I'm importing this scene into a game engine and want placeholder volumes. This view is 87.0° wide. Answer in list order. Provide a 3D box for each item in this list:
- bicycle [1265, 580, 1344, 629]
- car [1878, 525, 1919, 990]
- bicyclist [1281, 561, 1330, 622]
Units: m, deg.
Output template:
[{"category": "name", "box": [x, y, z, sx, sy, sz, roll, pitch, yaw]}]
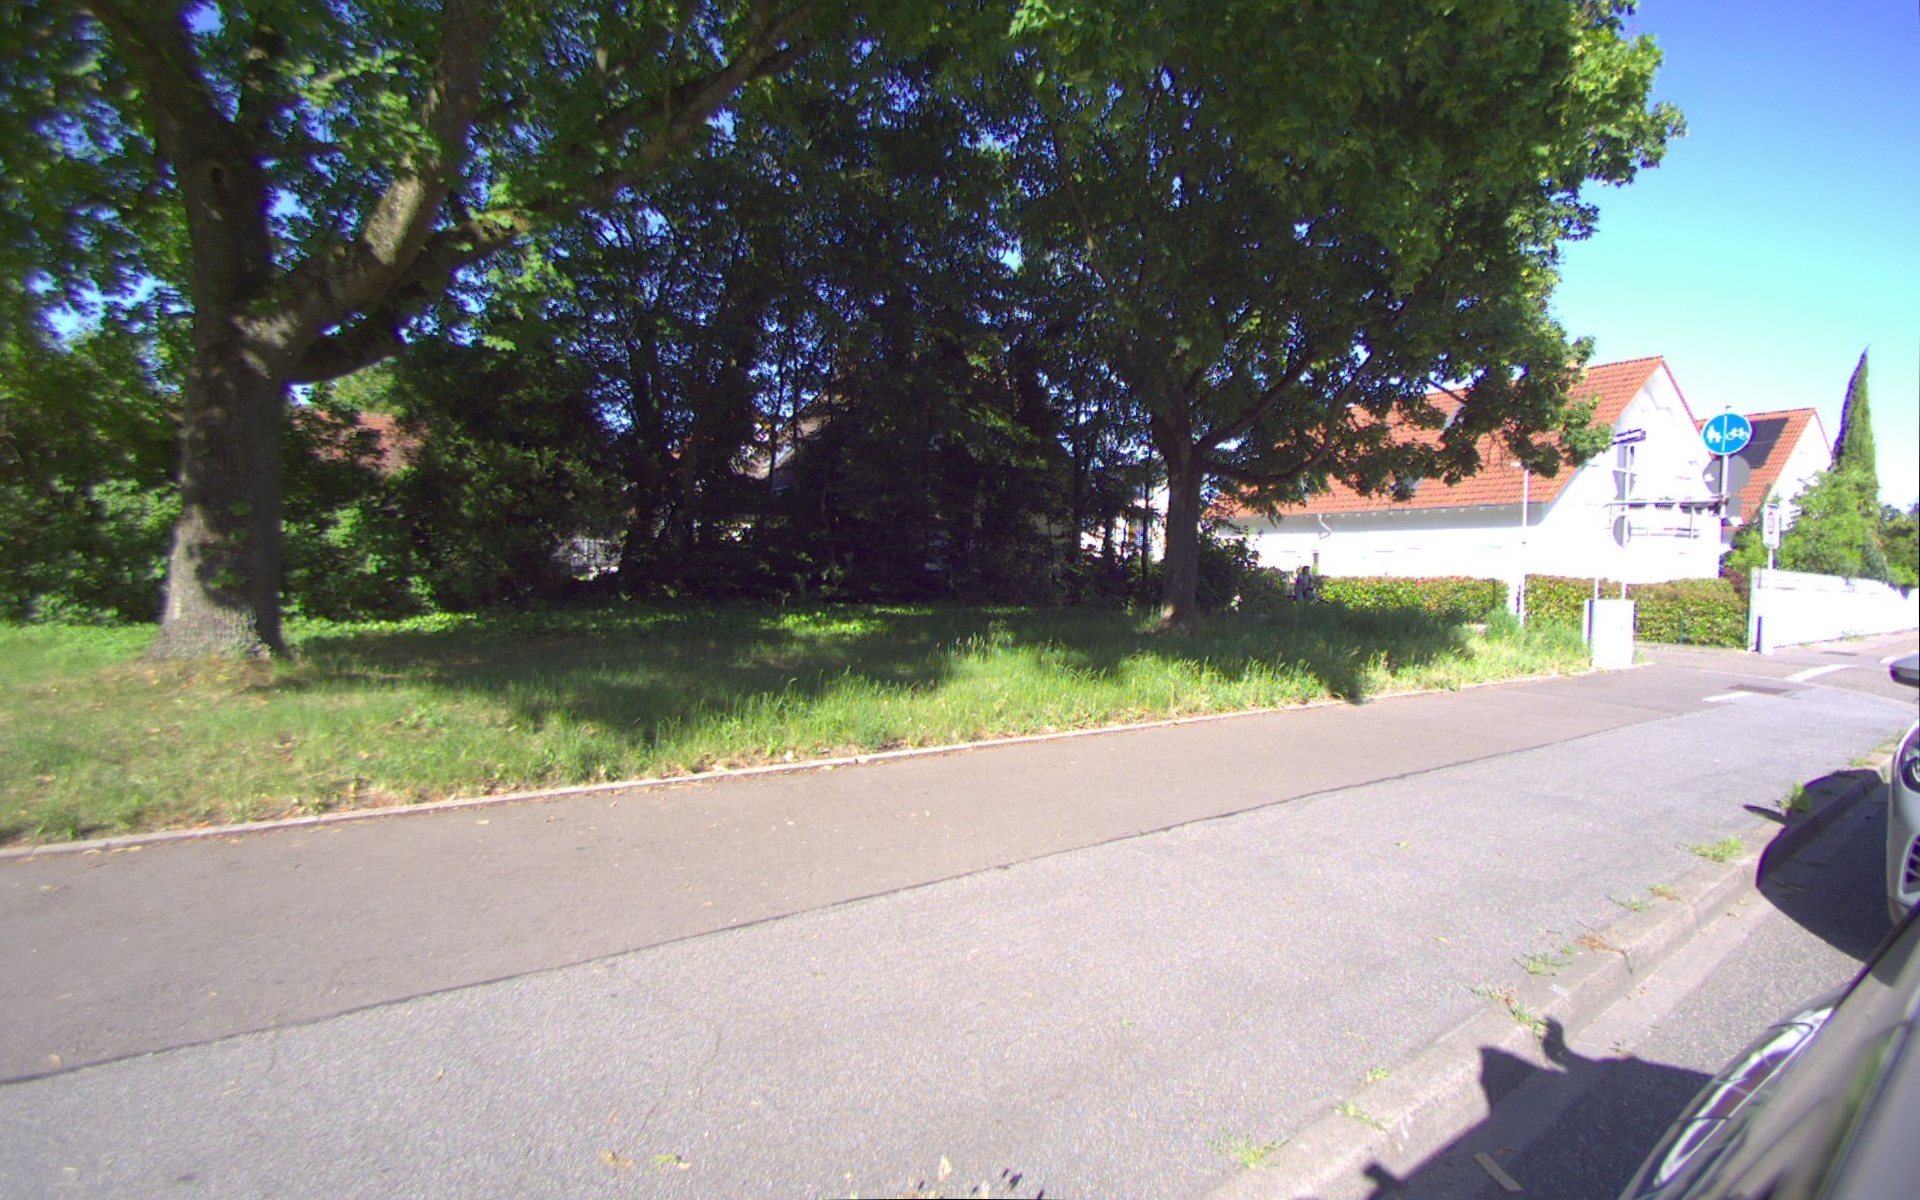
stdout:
[{"category": "bicycle", "box": [9.846, 0.113, 28.991, 1.983, 1.109, 0.572, 11, 8, 42]}, {"category": "car", "box": [5.632, 0.600, 4.437, 4.133, 1.710, 1.857, 0, 3, -41]}, {"category": "bicyclist", "box": [9.883, -0.257, 28.956, 0.995, 1.599, 0.572, 10, 8, 42]}]
